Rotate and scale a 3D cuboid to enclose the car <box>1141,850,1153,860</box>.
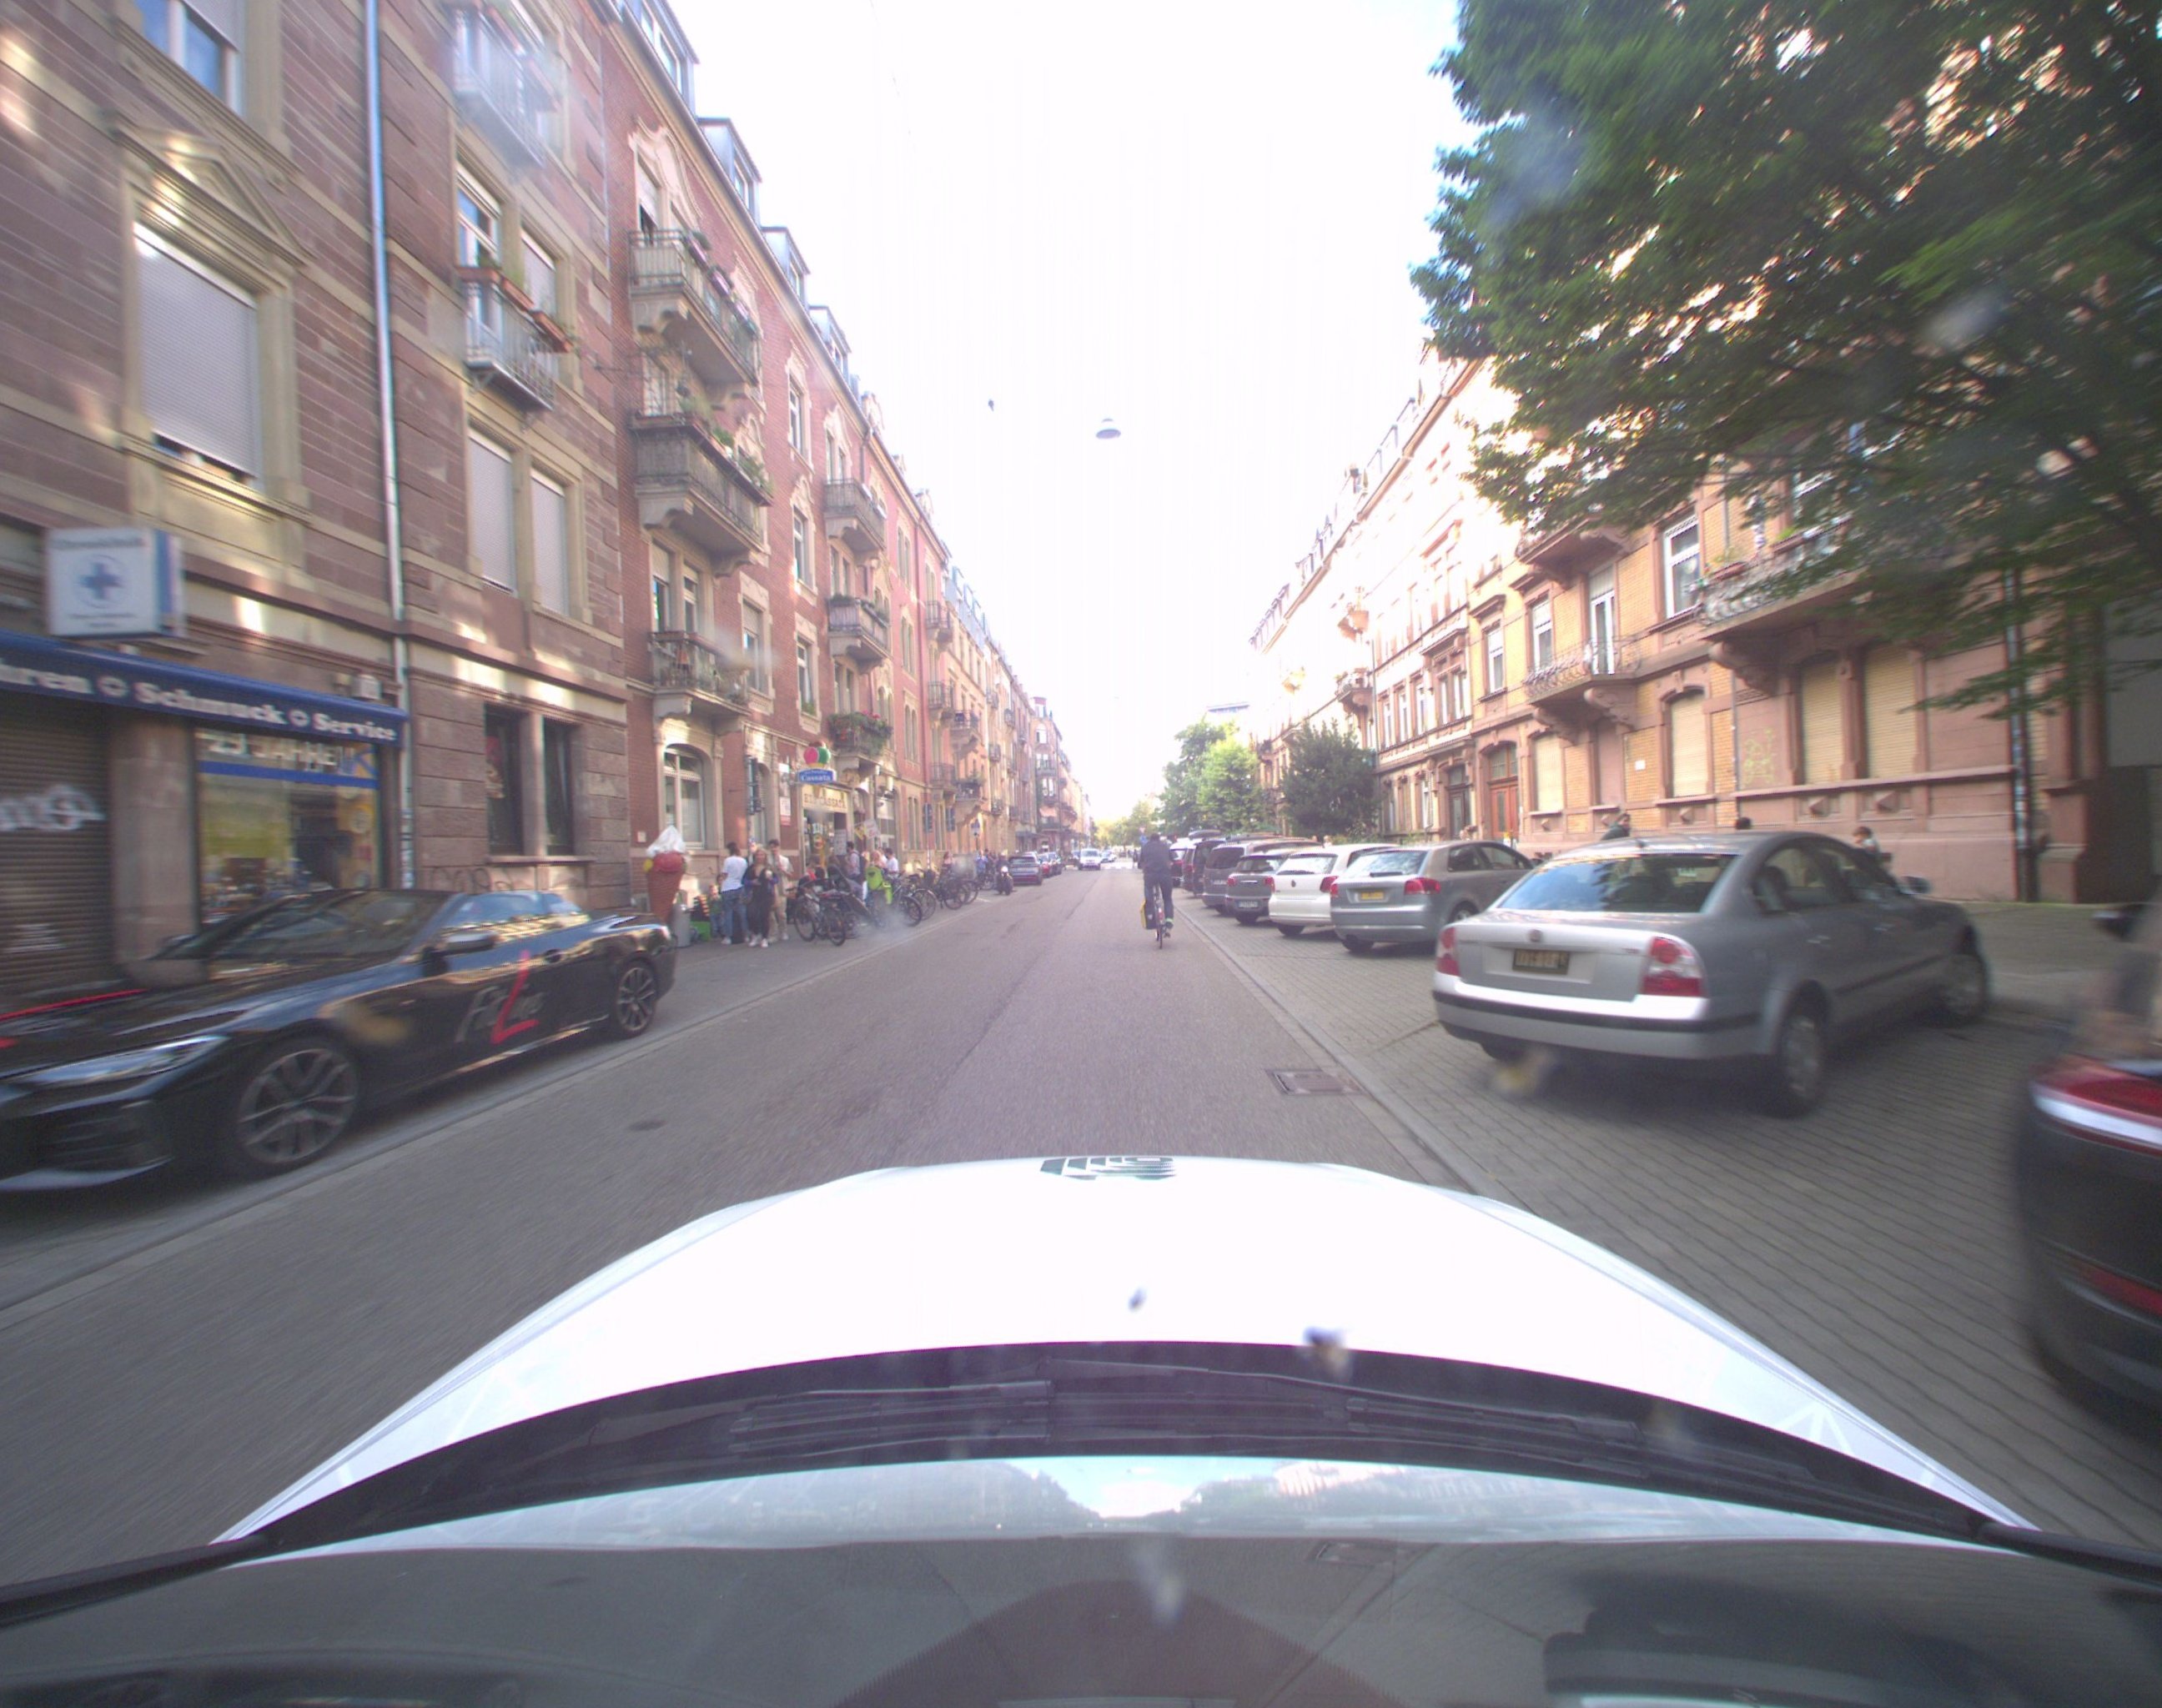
[{"bbox_3d":[9.324,0.119,115.541,1.638,1.324,3.580,-5,0,4],"label":"car"}]

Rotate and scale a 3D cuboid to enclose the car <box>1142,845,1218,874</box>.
[{"bbox_3d":[6.201,0.344,50.791,4.486,1.464,1.860,-5,2,-32],"label":"car"}]

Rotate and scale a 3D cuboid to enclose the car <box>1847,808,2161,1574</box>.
[{"bbox_3d":[4.032,0.565,2.257,4.154,1.417,1.850,-3,1,-33],"label":"car"}]

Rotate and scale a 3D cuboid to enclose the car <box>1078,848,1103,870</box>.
[{"bbox_3d":[0.866,0.436,70.652,1.909,1.828,4.442,-1,0,3],"label":"car"}]

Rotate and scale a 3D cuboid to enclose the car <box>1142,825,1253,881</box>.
[{"bbox_3d":[5.668,-0.088,39.364,5.177,2.405,1.899,-3,0,-31],"label":"car"}]

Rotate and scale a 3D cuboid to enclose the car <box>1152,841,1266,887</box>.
[{"bbox_3d":[5.309,0.371,33.644,4.474,1.732,1.980,-2,0,-33],"label":"car"}]

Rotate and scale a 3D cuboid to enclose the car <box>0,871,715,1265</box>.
[{"bbox_3d":[-4.658,0.874,5.613,1.805,1.351,5.117,-1,0,2],"label":"car"}]

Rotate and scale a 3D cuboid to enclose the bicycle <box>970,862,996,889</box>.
[{"bbox_3d":[-4.121,0.901,34.245,0.490,1.095,1.910,0,0,12],"label":"bicycle"}]

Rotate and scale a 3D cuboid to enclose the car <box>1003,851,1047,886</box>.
[{"bbox_3d":[-2.694,0.672,40.231,1.820,1.578,5.261,-1,0,-1],"label":"car"}]

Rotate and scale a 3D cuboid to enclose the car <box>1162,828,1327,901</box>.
[{"bbox_3d":[4.941,0.286,25.054,4.620,1.784,1.811,-5,2,1],"label":"car"}]

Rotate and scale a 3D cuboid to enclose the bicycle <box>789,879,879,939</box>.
[{"bbox_3d":[-4.520,0.992,14.865,1.666,1.030,0.411,-1,0,22],"label":"bicycle"}]

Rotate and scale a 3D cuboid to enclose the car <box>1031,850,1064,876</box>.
[{"bbox_3d":[-2.296,0.607,57.104,1.783,1.628,4.851,-2,0,3],"label":"car"}]

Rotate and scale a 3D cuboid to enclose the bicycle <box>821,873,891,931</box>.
[{"bbox_3d":[-4.632,0.960,16.907,0.574,1.090,1.745,-1,0,15],"label":"bicycle"}]

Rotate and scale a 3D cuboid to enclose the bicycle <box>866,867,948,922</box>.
[{"bbox_3d":[-4.087,0.930,19.188,1.798,1.200,0.585,-1,0,-34],"label":"bicycle"}]

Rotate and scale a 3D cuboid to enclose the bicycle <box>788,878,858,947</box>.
[{"bbox_3d":[-4.467,0.979,14.037,1.561,1.117,0.376,-1,0,41],"label":"bicycle"}]

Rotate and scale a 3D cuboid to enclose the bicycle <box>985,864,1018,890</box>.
[{"bbox_3d":[-3.352,0.952,34.538,0.477,1.059,1.916,0,0,26],"label":"bicycle"}]

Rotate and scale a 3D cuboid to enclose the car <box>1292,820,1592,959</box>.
[{"bbox_3d":[5.084,0.418,11.325,4.016,1.461,1.867,-4,-1,-34],"label":"car"}]

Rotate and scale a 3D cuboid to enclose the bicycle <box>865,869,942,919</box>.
[{"bbox_3d":[-4.292,0.941,19.784,1.745,1.120,0.549,-1,0,-34],"label":"bicycle"}]

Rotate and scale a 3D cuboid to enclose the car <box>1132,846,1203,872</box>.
[{"bbox_3d":[6.301,0.358,59.220,4.778,1.456,2.039,-5,2,-26],"label":"car"}]

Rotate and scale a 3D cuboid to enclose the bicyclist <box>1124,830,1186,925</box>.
[{"bbox_3d":[1.181,0.370,13.185,0.930,1.484,0.748,-1,0,2],"label":"bicyclist"}]

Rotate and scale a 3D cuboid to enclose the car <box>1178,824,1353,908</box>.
[{"bbox_3d":[4.947,0.282,21.636,4.417,1.822,1.738,-4,0,-30],"label":"car"}]

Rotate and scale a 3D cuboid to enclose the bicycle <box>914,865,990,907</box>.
[{"bbox_3d":[-3.832,0.935,24.455,0.798,1.159,2.284,-1,0,40],"label":"bicycle"}]

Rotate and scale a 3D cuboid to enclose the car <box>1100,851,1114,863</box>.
[{"bbox_3d":[3.372,0.382,107.593,1.744,1.436,4.212,-1,-1,1],"label":"car"}]

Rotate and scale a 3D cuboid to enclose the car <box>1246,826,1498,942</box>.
[{"bbox_3d":[4.942,0.447,13.739,4.013,1.450,1.719,-5,0,-30],"label":"car"}]

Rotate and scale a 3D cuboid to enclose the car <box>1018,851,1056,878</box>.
[{"bbox_3d":[-2.746,0.659,51.641,1.986,1.545,4.428,-2,0,2],"label":"car"}]

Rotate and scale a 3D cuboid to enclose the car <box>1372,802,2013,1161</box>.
[{"bbox_3d":[4.328,0.523,5.567,4.626,1.451,1.776,-4,0,-30],"label":"car"}]

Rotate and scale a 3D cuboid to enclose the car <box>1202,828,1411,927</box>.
[{"bbox_3d":[4.599,0.416,16.417,4.018,1.548,1.849,-5,1,-35],"label":"car"}]

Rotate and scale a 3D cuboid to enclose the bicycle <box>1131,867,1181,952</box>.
[{"bbox_3d":[1.167,0.832,13.141,0.663,1.178,2.499,-1,0,3],"label":"bicycle"}]

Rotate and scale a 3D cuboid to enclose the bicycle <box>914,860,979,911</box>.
[{"bbox_3d":[-3.663,0.836,22.291,1.683,1.322,0.522,-1,0,-34],"label":"bicycle"}]

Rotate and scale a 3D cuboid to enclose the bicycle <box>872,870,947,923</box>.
[{"bbox_3d":[-3.899,0.951,18.566,1.577,1.120,0.585,-1,0,-34],"label":"bicycle"}]

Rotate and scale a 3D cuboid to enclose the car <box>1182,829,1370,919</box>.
[{"bbox_3d":[4.571,0.408,18.998,4.011,1.741,1.823,-4,0,-29],"label":"car"}]

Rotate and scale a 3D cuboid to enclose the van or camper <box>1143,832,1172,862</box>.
[{"bbox_3d":[8.171,-0.726,87.352,2.523,3.037,4.459,-3,0,0],"label":"van or camper"}]
